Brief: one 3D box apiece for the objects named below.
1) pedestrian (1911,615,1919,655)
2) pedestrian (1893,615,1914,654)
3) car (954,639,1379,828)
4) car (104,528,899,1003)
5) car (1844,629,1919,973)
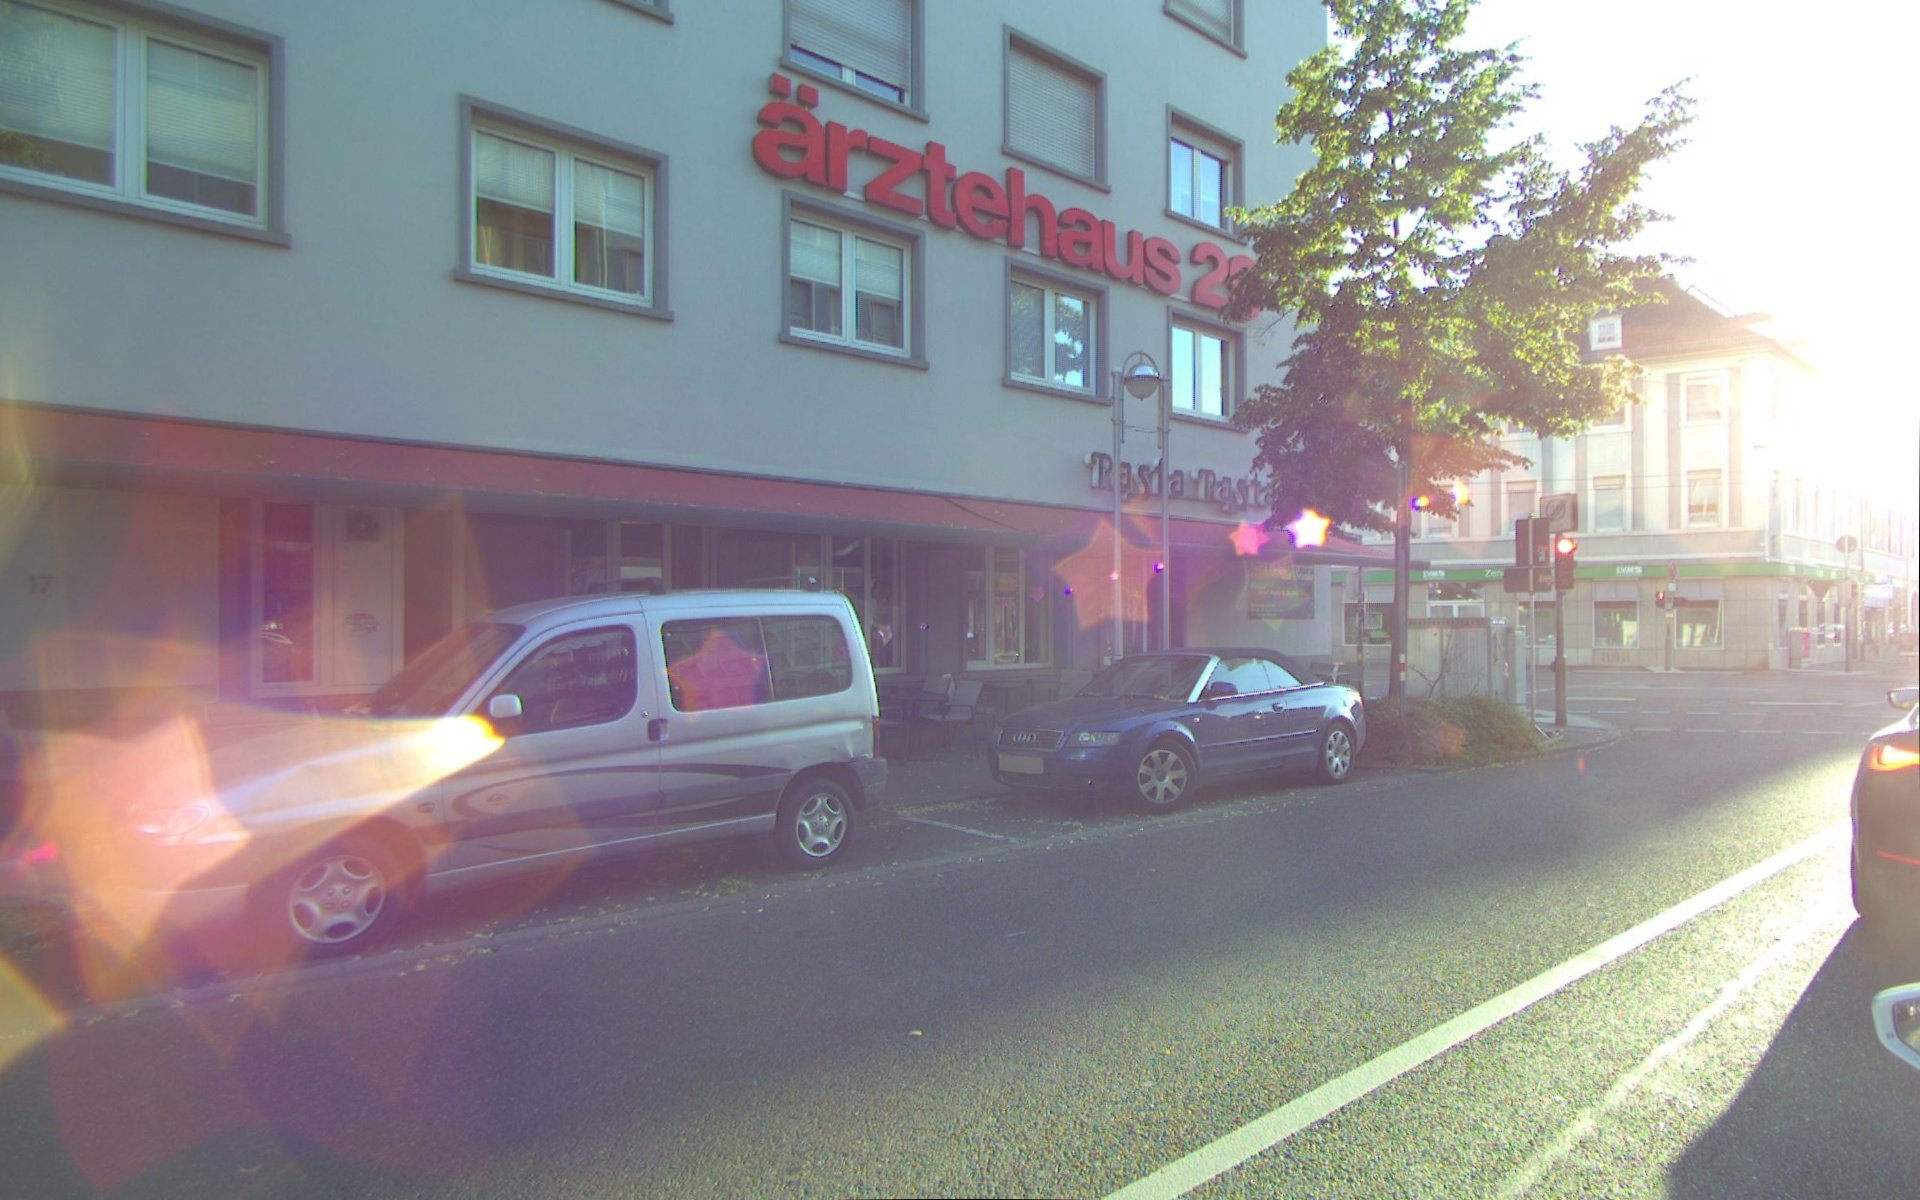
[{"bbox_3d":[46.955,1.714,49.002,0.612,1.901,0.671,1,0,-38],"label":"pedestrian"},{"bbox_3d":[46.357,1.701,49.339,0.626,1.901,0.638,1,0,-38],"label":"pedestrian"},{"bbox_3d":[2.126,1.116,9.696,4.244,1.434,1.710,2,-4,-39],"label":"car"},{"bbox_3d":[-2.464,0.749,6.021,4.022,1.912,1.655,2,-4,-41],"label":"car"},{"bbox_3d":[6.074,0.894,5.112,4.188,1.447,1.723,1,-1,-39],"label":"car"}]
